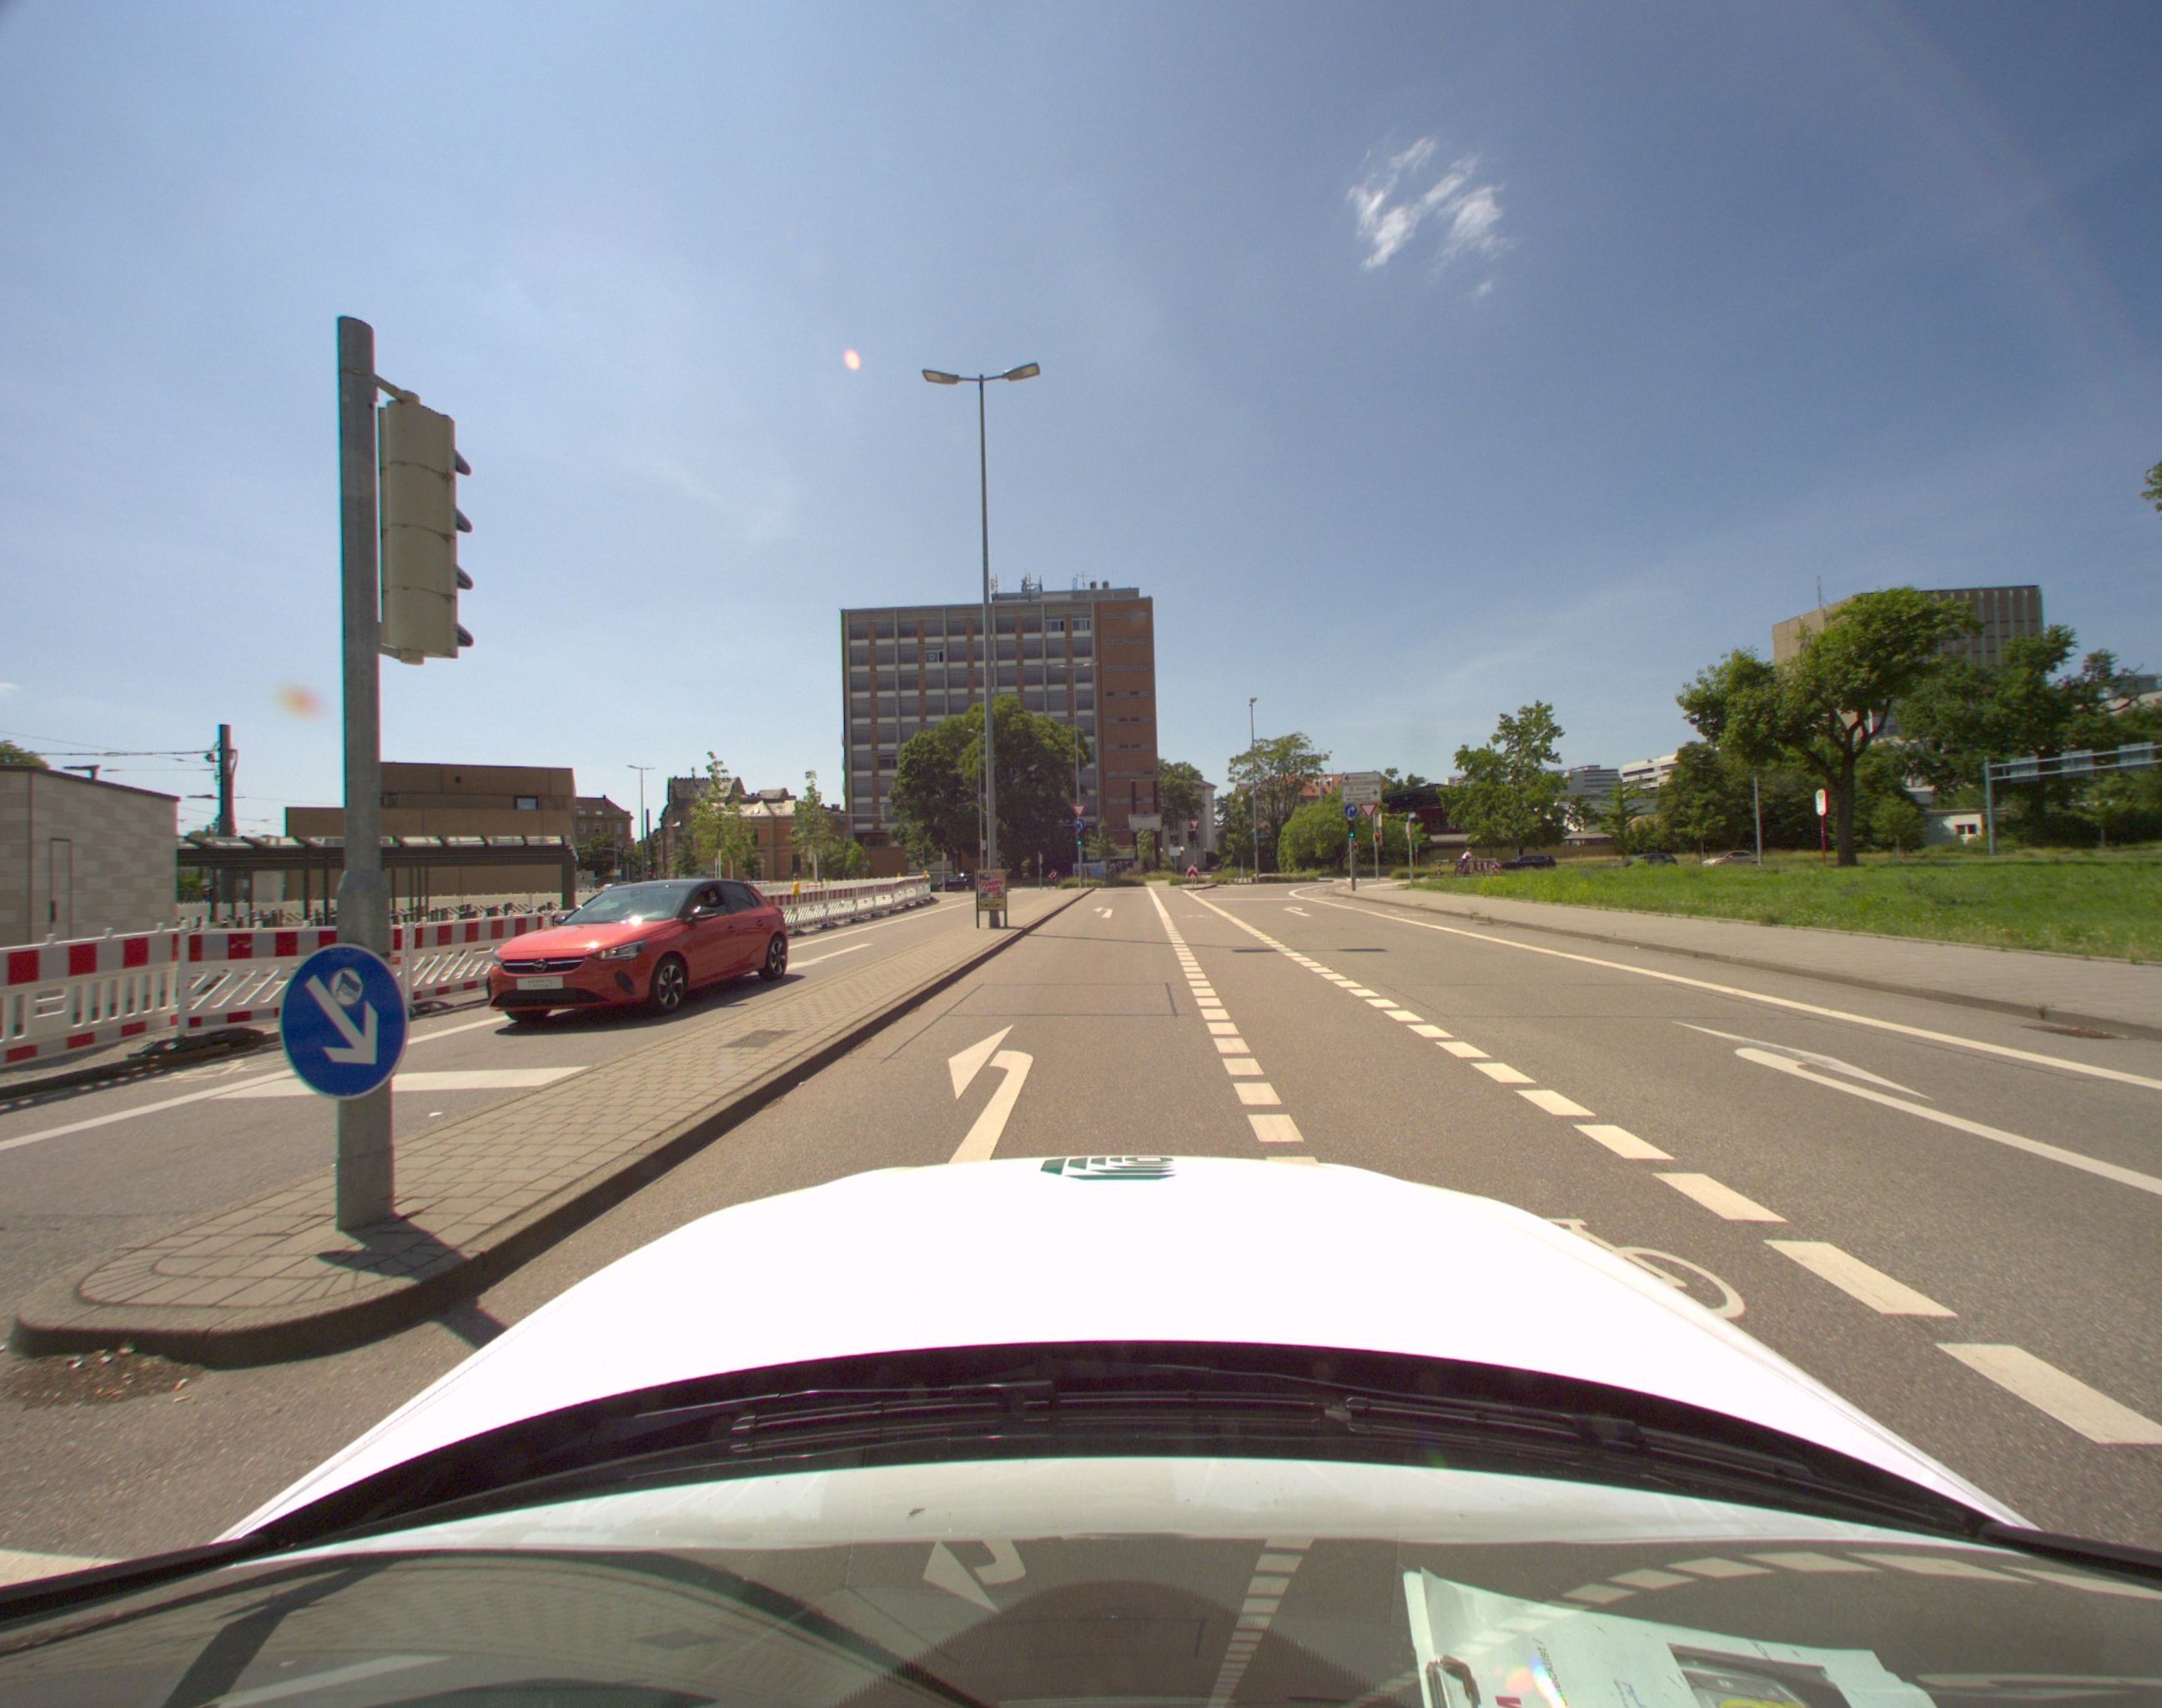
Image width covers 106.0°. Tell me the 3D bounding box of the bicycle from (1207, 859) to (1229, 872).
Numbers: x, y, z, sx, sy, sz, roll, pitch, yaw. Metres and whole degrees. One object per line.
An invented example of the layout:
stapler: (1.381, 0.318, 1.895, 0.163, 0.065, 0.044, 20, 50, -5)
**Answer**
bicycle: (21.653, 1.757, 128.662, 3.430, 2.014, 0.761, 0, -1, 5)

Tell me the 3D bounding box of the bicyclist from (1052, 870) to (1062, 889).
bicyclist: (-2.220, 2.324, 75.298, 0.544, 1.716, 0.707, -1, 0, 44)

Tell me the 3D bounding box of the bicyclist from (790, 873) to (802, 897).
bicyclist: (-19.619, 2.127, 56.014, 0.492, 1.580, 0.534, -3, -2, 21)

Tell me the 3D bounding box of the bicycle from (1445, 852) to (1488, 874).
bicycle: (21.402, 0.502, 45.241, 2.180, 1.237, 0.520, 0, -1, -5)

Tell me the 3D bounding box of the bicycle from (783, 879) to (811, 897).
bicycle: (-19.560, 2.331, 55.986, 1.876, 1.180, 0.527, -3, -2, 20)

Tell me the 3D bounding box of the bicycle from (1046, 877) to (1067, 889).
bicycle: (-2.265, 2.676, 75.225, 2.009, 1.045, 0.552, -2, 0, -45)

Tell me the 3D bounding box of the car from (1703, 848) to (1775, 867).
car: (49.471, 0.282, 61.264, 3.970, 1.439, 1.761, 0, -1, 3)

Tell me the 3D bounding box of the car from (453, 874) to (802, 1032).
car: (-5.055, 1.006, 9.831, 1.680, 1.378, 4.017, -4, -1, 4)

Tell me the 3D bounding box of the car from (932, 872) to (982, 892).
car: (-10.286, 2.319, 67.542, 3.734, 1.552, 1.625, 0, -1, 15)

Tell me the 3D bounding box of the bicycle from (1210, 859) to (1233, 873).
bicycle: (21.213, 1.790, 122.941, 3.430, 2.014, 0.761, 0, -1, 5)

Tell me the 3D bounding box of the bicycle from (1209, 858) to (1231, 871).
bicycle: (22.216, 1.721, 130.377, 3.430, 2.014, 0.761, 0, -1, 5)

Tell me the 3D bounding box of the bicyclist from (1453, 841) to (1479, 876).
bicyclist: (21.390, 0.255, 45.257, 1.133, 1.887, 0.708, 0, -1, -5)

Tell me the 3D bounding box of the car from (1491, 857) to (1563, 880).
car: (34.256, 1.132, 62.697, 4.513, 1.586, 1.713, -3, -2, 9)

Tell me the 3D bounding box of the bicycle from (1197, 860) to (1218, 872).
bicycle: (20.870, 2.021, 134.626, 3.430, 2.014, 0.761, 0, -1, 5)
